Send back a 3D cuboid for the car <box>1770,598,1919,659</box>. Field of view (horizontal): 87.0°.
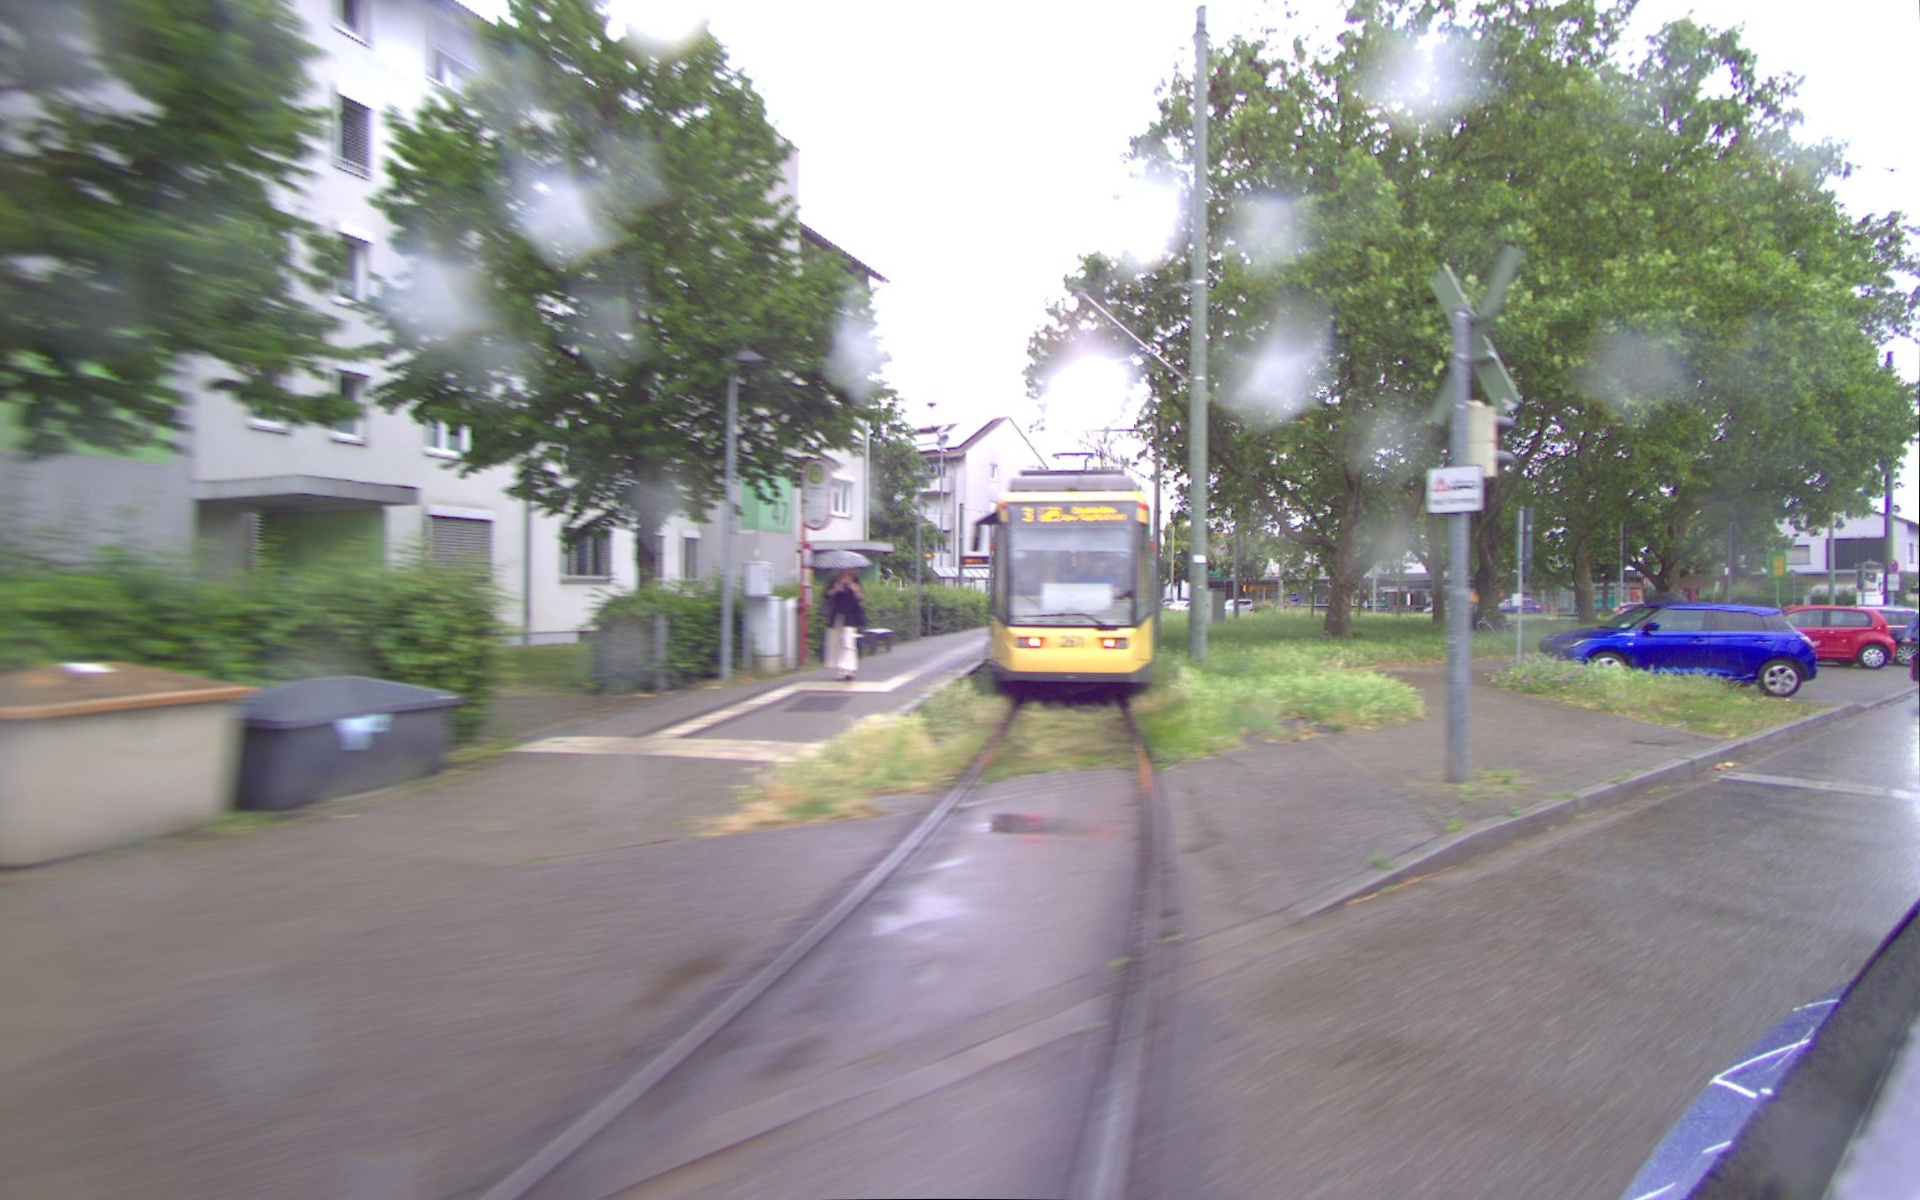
[{"bbox_3d":[24.053,0.720,26.860,3.668,1.502,1.605,1,1,25],"label":"car"}]

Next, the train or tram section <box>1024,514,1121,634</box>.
[{"bbox_3d":[3.719,-0.816,33.729,2.710,3.381,10.335,1,1,6],"label":"train or tram section"}]

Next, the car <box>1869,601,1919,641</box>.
[{"bbox_3d":[35.988,0.794,37.065,3.668,1.434,1.605,1,1,25],"label":"car"}]

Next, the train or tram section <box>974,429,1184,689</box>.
[{"bbox_3d":[1.885,-0.586,16.514,2.710,3.381,6.390,1,1,6],"label":"train or tram section"}]

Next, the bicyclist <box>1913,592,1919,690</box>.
[{"bbox_3d":[15.535,0.649,15.914,0.702,1.531,0.710,0,0,-40],"label":"bicyclist"}]

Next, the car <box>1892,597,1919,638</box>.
[{"bbox_3d":[38.574,0.701,38.904,3.668,1.541,1.605,1,1,25],"label":"car"}]

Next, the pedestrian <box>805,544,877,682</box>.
[{"bbox_3d":[-1.605,0.161,13.801,0.848,1.797,1.019,1,0,0],"label":"pedestrian"}]

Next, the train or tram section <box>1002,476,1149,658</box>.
[{"bbox_3d":[2.687,-0.696,24.133,2.709,3.381,10.335,1,1,6],"label":"train or tram section"}]

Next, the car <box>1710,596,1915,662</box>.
[{"bbox_3d":[20.923,0.661,25.020,3.538,1.478,1.606,1,1,24],"label":"car"}]

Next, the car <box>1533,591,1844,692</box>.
[{"bbox_3d":[12.222,0.641,17.287,3.947,1.546,1.710,1,0,18],"label":"car"}]

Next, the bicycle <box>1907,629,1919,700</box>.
[{"bbox_3d":[15.535,1.004,15.923,2.062,1.050,0.710,0,1,-41],"label":"bicycle"}]

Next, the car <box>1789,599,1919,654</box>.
[{"bbox_3d":[26.472,0.746,29.165,3.668,1.502,1.605,1,1,25],"label":"car"}]
